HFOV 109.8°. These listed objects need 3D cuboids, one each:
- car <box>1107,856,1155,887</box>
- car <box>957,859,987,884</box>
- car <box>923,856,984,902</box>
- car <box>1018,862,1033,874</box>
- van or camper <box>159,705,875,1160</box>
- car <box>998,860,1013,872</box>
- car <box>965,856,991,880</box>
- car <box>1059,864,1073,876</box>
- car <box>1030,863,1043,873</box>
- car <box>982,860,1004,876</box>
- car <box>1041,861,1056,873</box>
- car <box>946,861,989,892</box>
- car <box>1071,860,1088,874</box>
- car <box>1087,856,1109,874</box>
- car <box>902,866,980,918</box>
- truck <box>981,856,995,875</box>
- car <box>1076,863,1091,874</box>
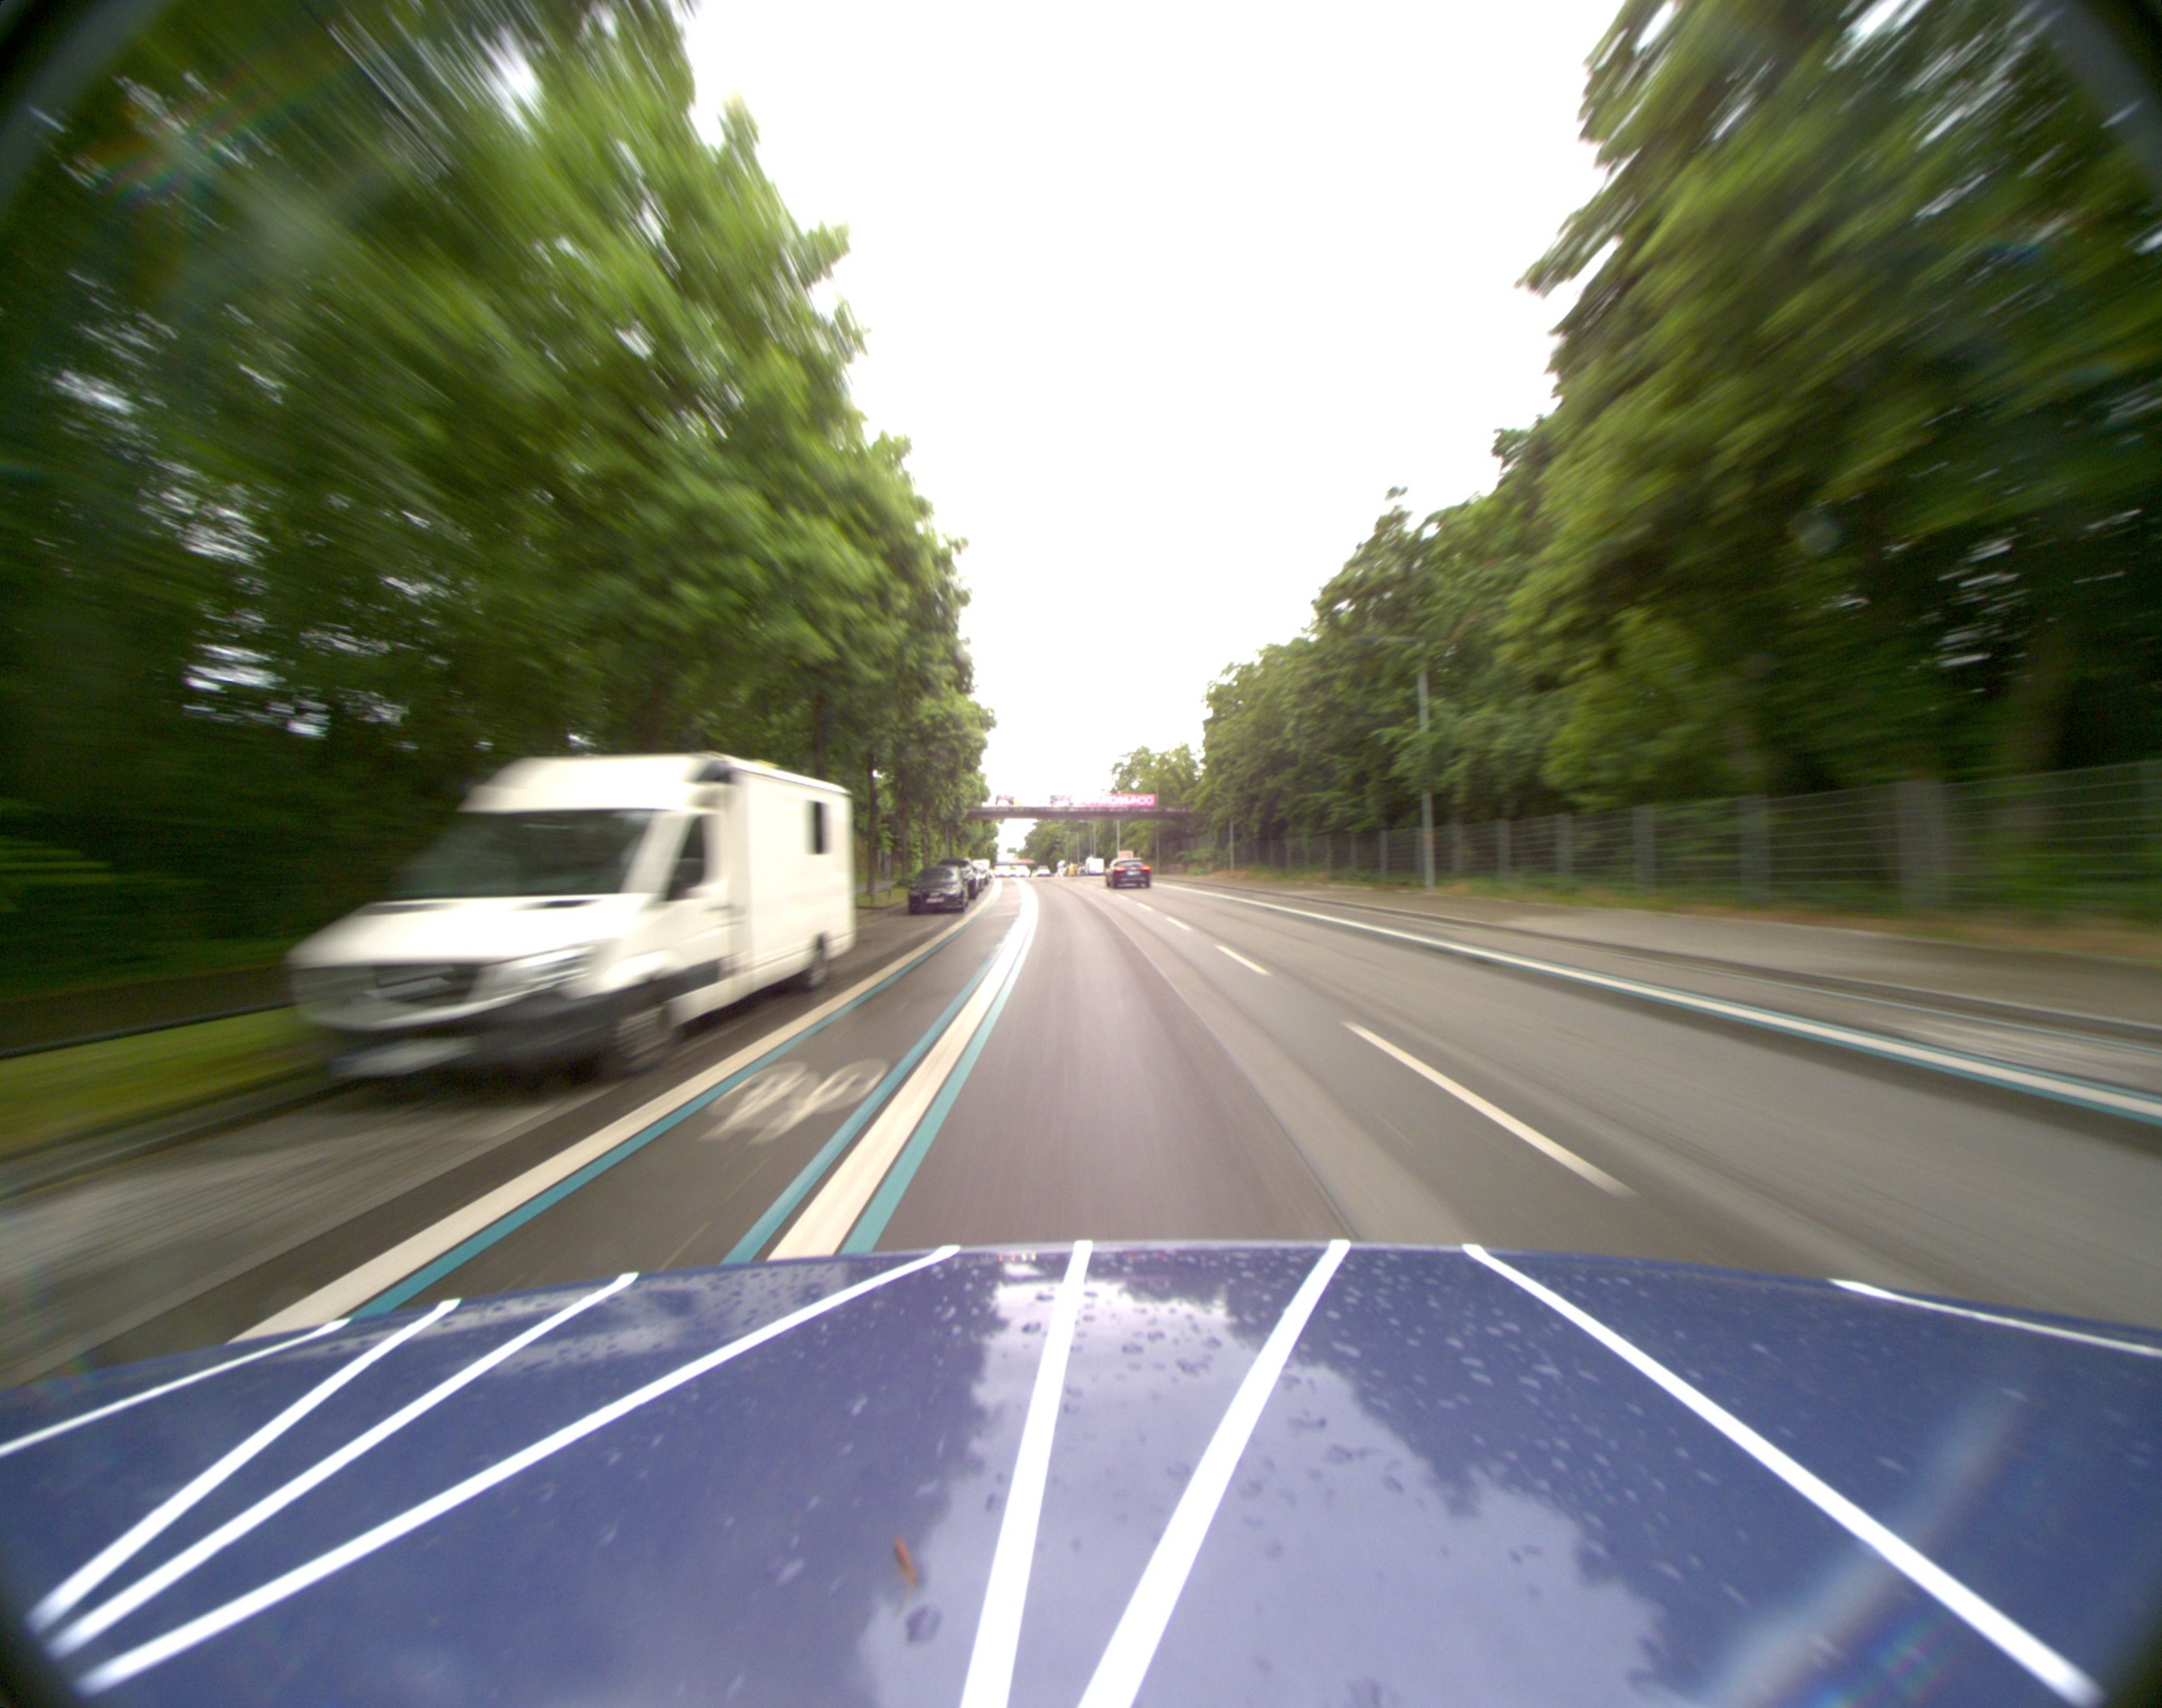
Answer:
[{"bbox_3d":[2.388,0.823,37.490,1.765,1.428,4.149,-1,0,-4],"label":"car"},{"bbox_3d":[-6.928,1.100,48.719,1.723,1.368,4.555,-1,1,-6],"label":"car"},{"bbox_3d":[-5.197,0.970,31.532,1.999,1.636,4.345,-3,1,-4],"label":"car"},{"bbox_3d":[-7.564,1.945,102.800,1.829,1.453,3.881,-2,-1,-6],"label":"car"},{"bbox_3d":[-4.235,0.477,7.725,2.322,2.649,6.382,-2,0,1],"label":"van or camper"},{"bbox_3d":[-9.457,1.486,95.190,1.727,1.389,4.589,-1,-2,-7],"label":"car"},{"bbox_3d":[-7.366,0.947,54.573,1.719,1.609,4.258,-1,0,-7],"label":"car"},{"bbox_3d":[-2.632,2.874,134.210,1.878,1.965,4.734,0,-2,-7],"label":"car"},{"bbox_3d":[-7.503,2.361,128.919,1.978,1.542,3.868,-1,-1,-6],"label":"car"},{"bbox_3d":[-9.161,1.476,78.866,2.000,1.550,4.640,-1,-2,-9],"label":"car"},{"bbox_3d":[-4.549,1.751,105.999,1.801,1.567,4.100,-1,0,-5],"label":"car"},{"bbox_3d":[-5.666,1.092,38.502,1.780,1.340,4.464,-2,1,-4],"label":"car"},{"bbox_3d":[-0.235,1.909,112.118,2.000,1.901,4.843,0,-2,-6],"label":"car"},{"bbox_3d":[1.934,1.289,87.945,1.984,1.902,5.227,-1,-2,-4],"label":"car"},{"bbox_3d":[-4.379,1.137,24.278,1.682,1.368,3.999,-1,1,1],"label":"car"},{"bbox_3d":[-11.758,1.458,96.444,1.724,2.319,3.999,-1,-2,-6],"label":"truck"},{"bbox_3d":[0.318,2.045,106.576,1.715,1.495,4.150,0,-2,-5],"label":"car"}]
